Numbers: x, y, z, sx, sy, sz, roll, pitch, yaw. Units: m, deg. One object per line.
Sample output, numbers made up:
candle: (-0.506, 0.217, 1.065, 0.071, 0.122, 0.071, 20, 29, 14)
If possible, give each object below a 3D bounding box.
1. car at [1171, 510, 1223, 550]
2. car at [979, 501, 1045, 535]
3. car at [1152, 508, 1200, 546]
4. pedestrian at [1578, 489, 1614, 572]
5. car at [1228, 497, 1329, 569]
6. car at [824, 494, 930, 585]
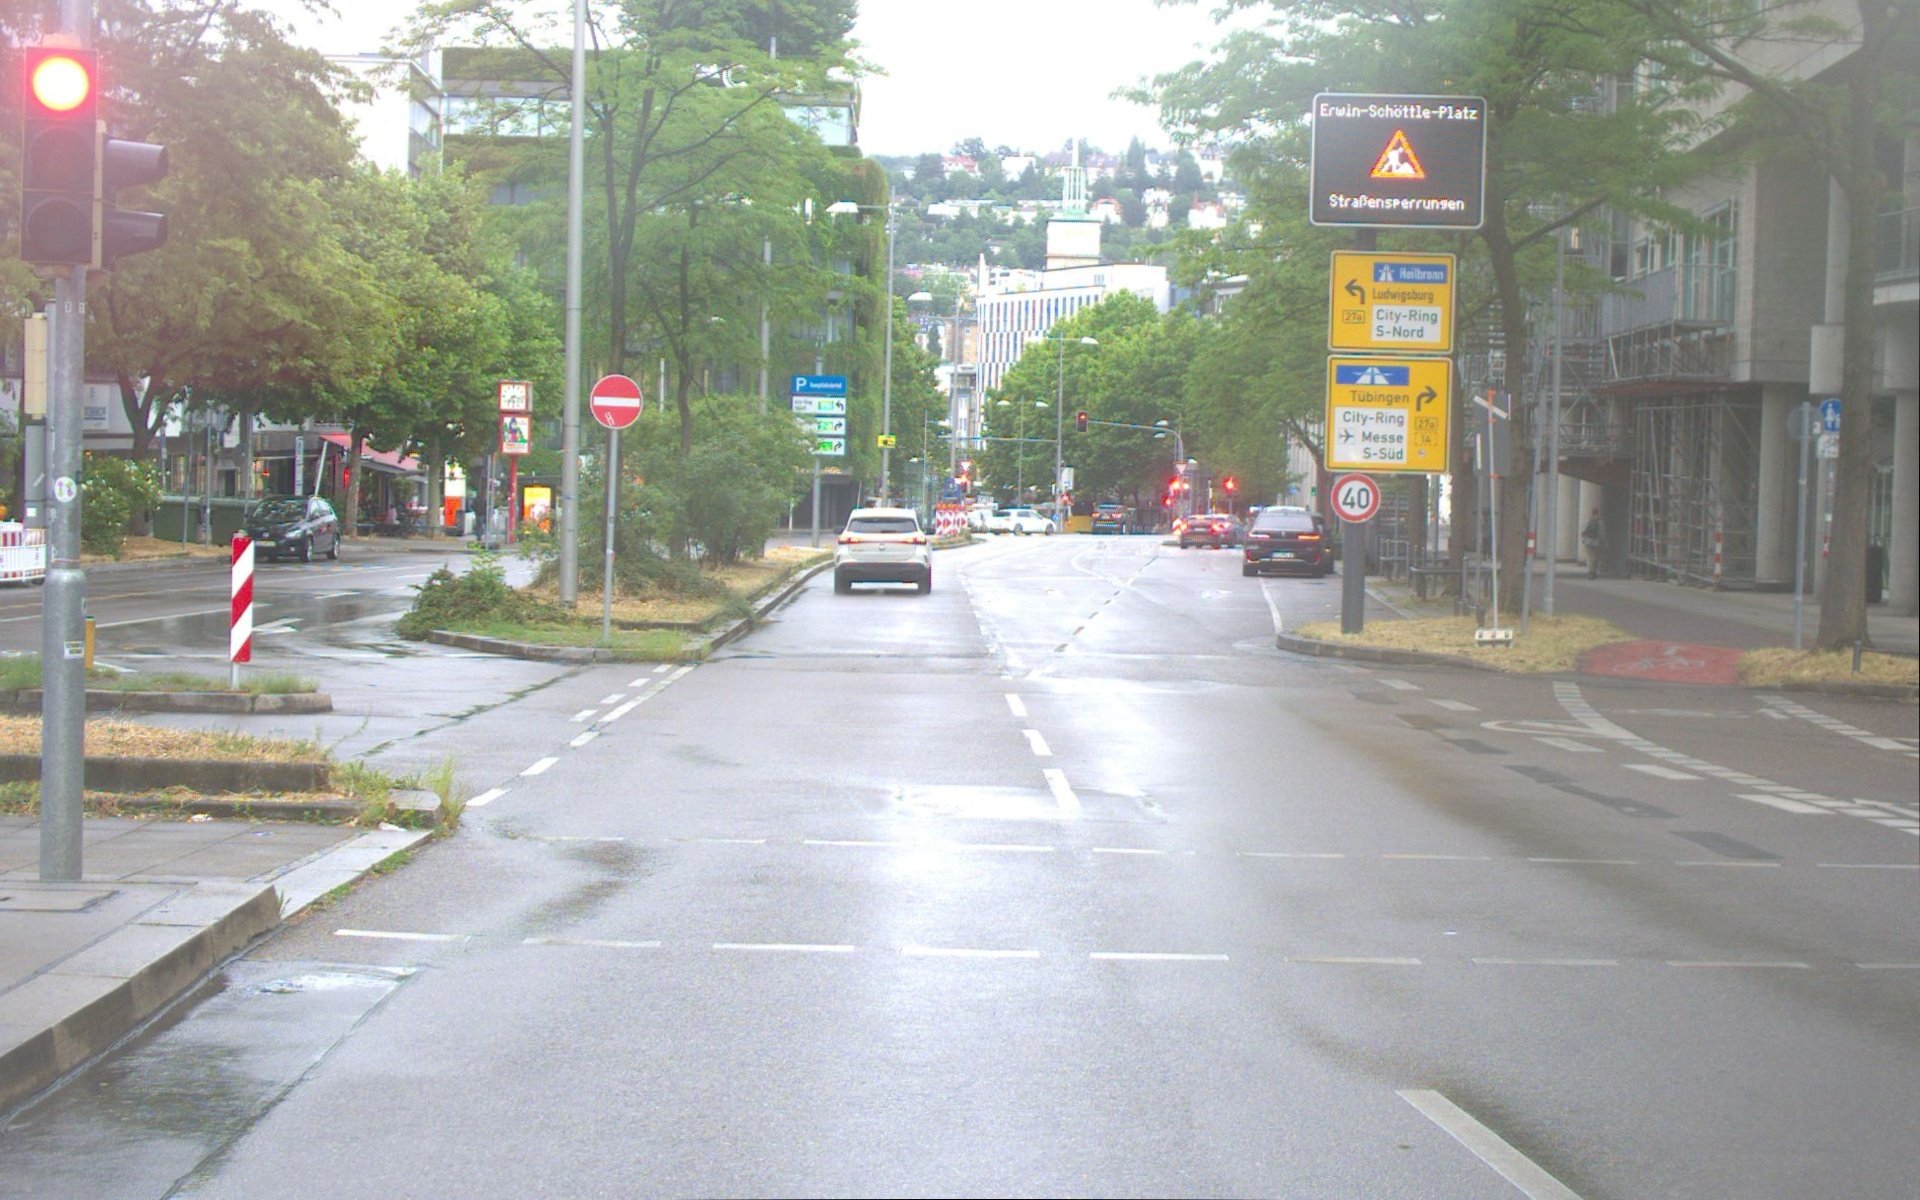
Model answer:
car: (10.714, -3.152, 155.548, 1.993, 1.718, 4.000, 1, 0, -1)
car: (2.952, -4.620, 194.075, 1.997, 1.752, 3.993, 3, 1, 30)
car: (10.456, -3.536, 166.793, 1.993, 1.730, 4.000, 1, 0, -1)
pedestrian: (14.813, -1.605, 80.094, 0.775, 1.914, 0.702, 1, 0, 10)
car: (7.759, -1.638, 83.417, 2.339, 1.685, 3.999, 1, 2, 6)
car: (-1.641, -1.167, 66.481, 1.828, 1.634, 4.301, 2, 1, -3)
